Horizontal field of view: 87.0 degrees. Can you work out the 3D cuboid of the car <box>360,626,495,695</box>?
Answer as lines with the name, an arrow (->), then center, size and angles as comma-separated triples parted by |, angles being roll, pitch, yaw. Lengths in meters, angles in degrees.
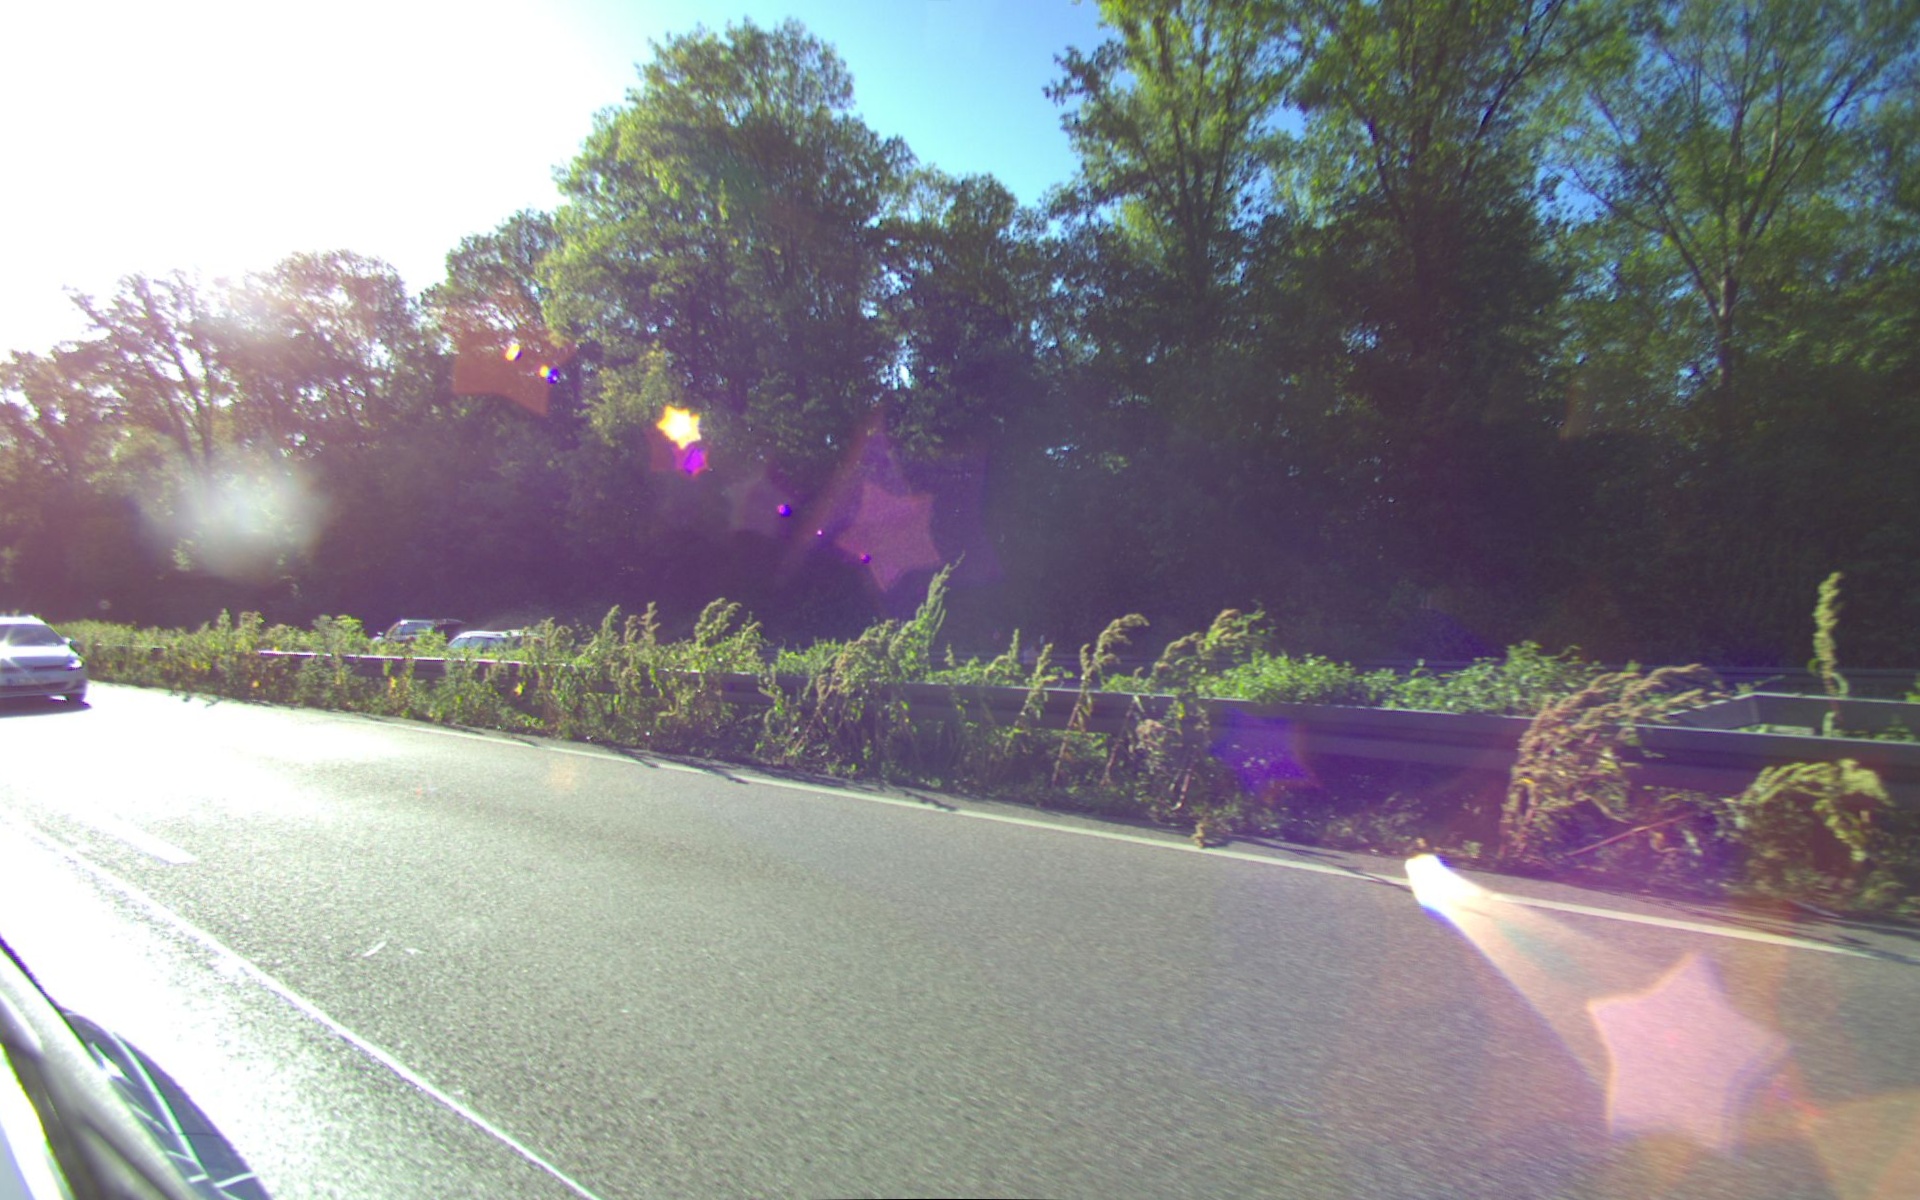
car -> -17.564, 1.924, 33.309 | 4.752, 2.029, 2.029 | -1, 0, 36

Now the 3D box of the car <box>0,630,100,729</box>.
car -> -17.132, 1.345, 17.691 | 5.587, 1.519, 1.912 | -2, -1, 36

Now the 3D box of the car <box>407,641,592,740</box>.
car -> -10.746, 2.004, 23.489 | 4.528, 2.029, 2.065 | -2, -2, 38
